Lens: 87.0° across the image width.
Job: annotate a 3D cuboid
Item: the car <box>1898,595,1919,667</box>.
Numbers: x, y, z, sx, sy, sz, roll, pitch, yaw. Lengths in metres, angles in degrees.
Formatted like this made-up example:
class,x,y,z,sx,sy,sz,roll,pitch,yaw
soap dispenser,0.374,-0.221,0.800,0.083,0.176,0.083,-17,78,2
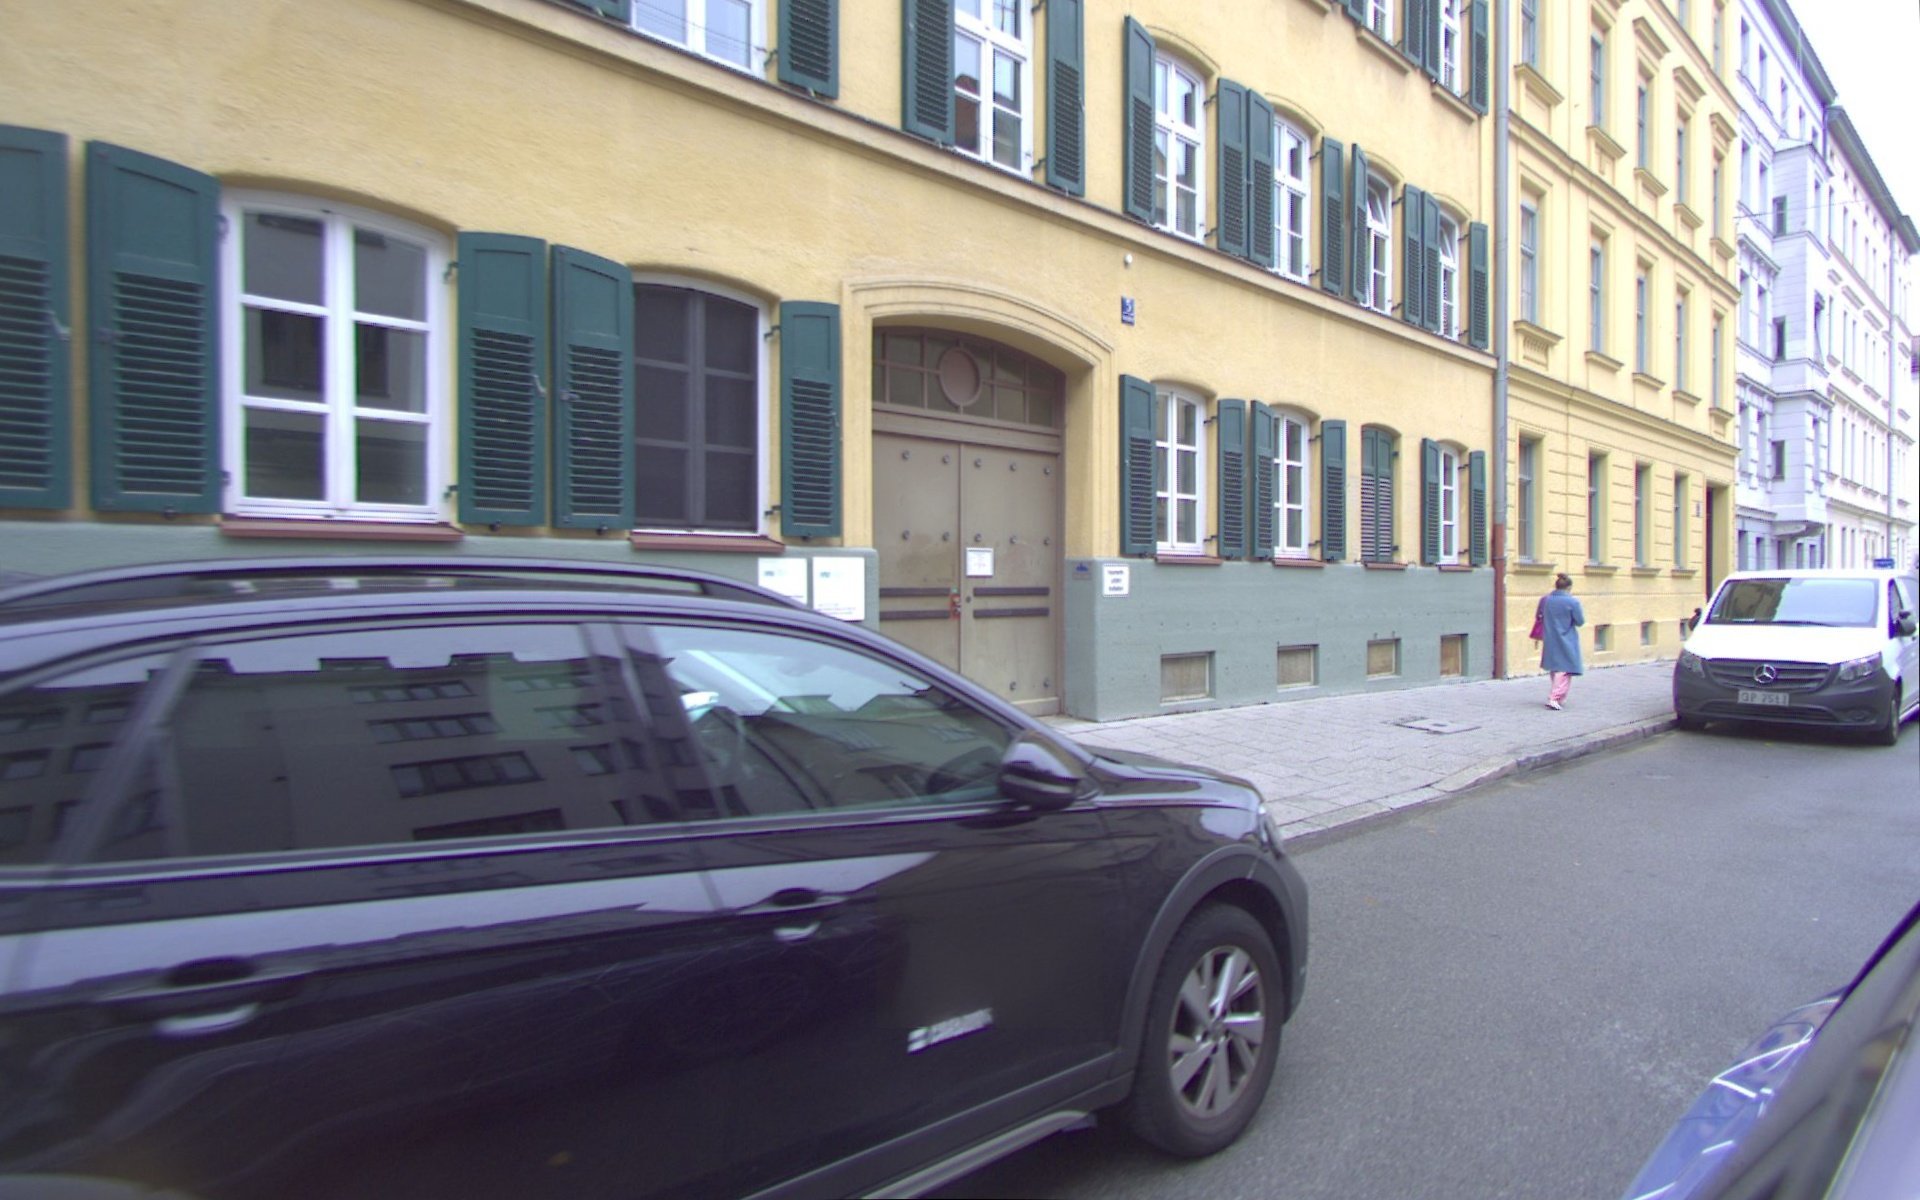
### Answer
class,x,y,z,sx,sy,sz,roll,pitch,yaw
car,22.477,0.678,22.631,4.390,1.528,1.720,0,1,-41

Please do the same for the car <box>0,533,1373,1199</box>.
class,x,y,z,sx,sy,sz,roll,pitch,yaw
car,-0.773,0.646,2.545,3.930,1.482,1.749,0,1,-41

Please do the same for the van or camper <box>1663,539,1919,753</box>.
class,x,y,z,sx,sy,sz,roll,pitch,yaw
van or camper,10.327,0.419,12.102,5.142,2.039,1.997,0,1,-42

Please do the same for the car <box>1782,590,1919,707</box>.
class,x,y,z,sx,sy,sz,roll,pitch,yaw
car,14.121,0.654,15.452,4.510,1.528,1.818,0,1,-43

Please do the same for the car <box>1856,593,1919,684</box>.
class,x,y,z,sx,sy,sz,roll,pitch,yaw
car,17.663,0.668,18.396,3.696,1.528,1.626,0,1,-42

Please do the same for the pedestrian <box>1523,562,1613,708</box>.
class,x,y,z,sx,sy,sz,roll,pitch,yaw
pedestrian,7.299,0.398,12.151,0.881,1.658,0.598,1,3,-43

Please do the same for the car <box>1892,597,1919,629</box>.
class,x,y,z,sx,sy,sz,roll,pitch,yaw
car,48.998,0.685,50.179,1.683,1.585,3.992,0,1,-43
